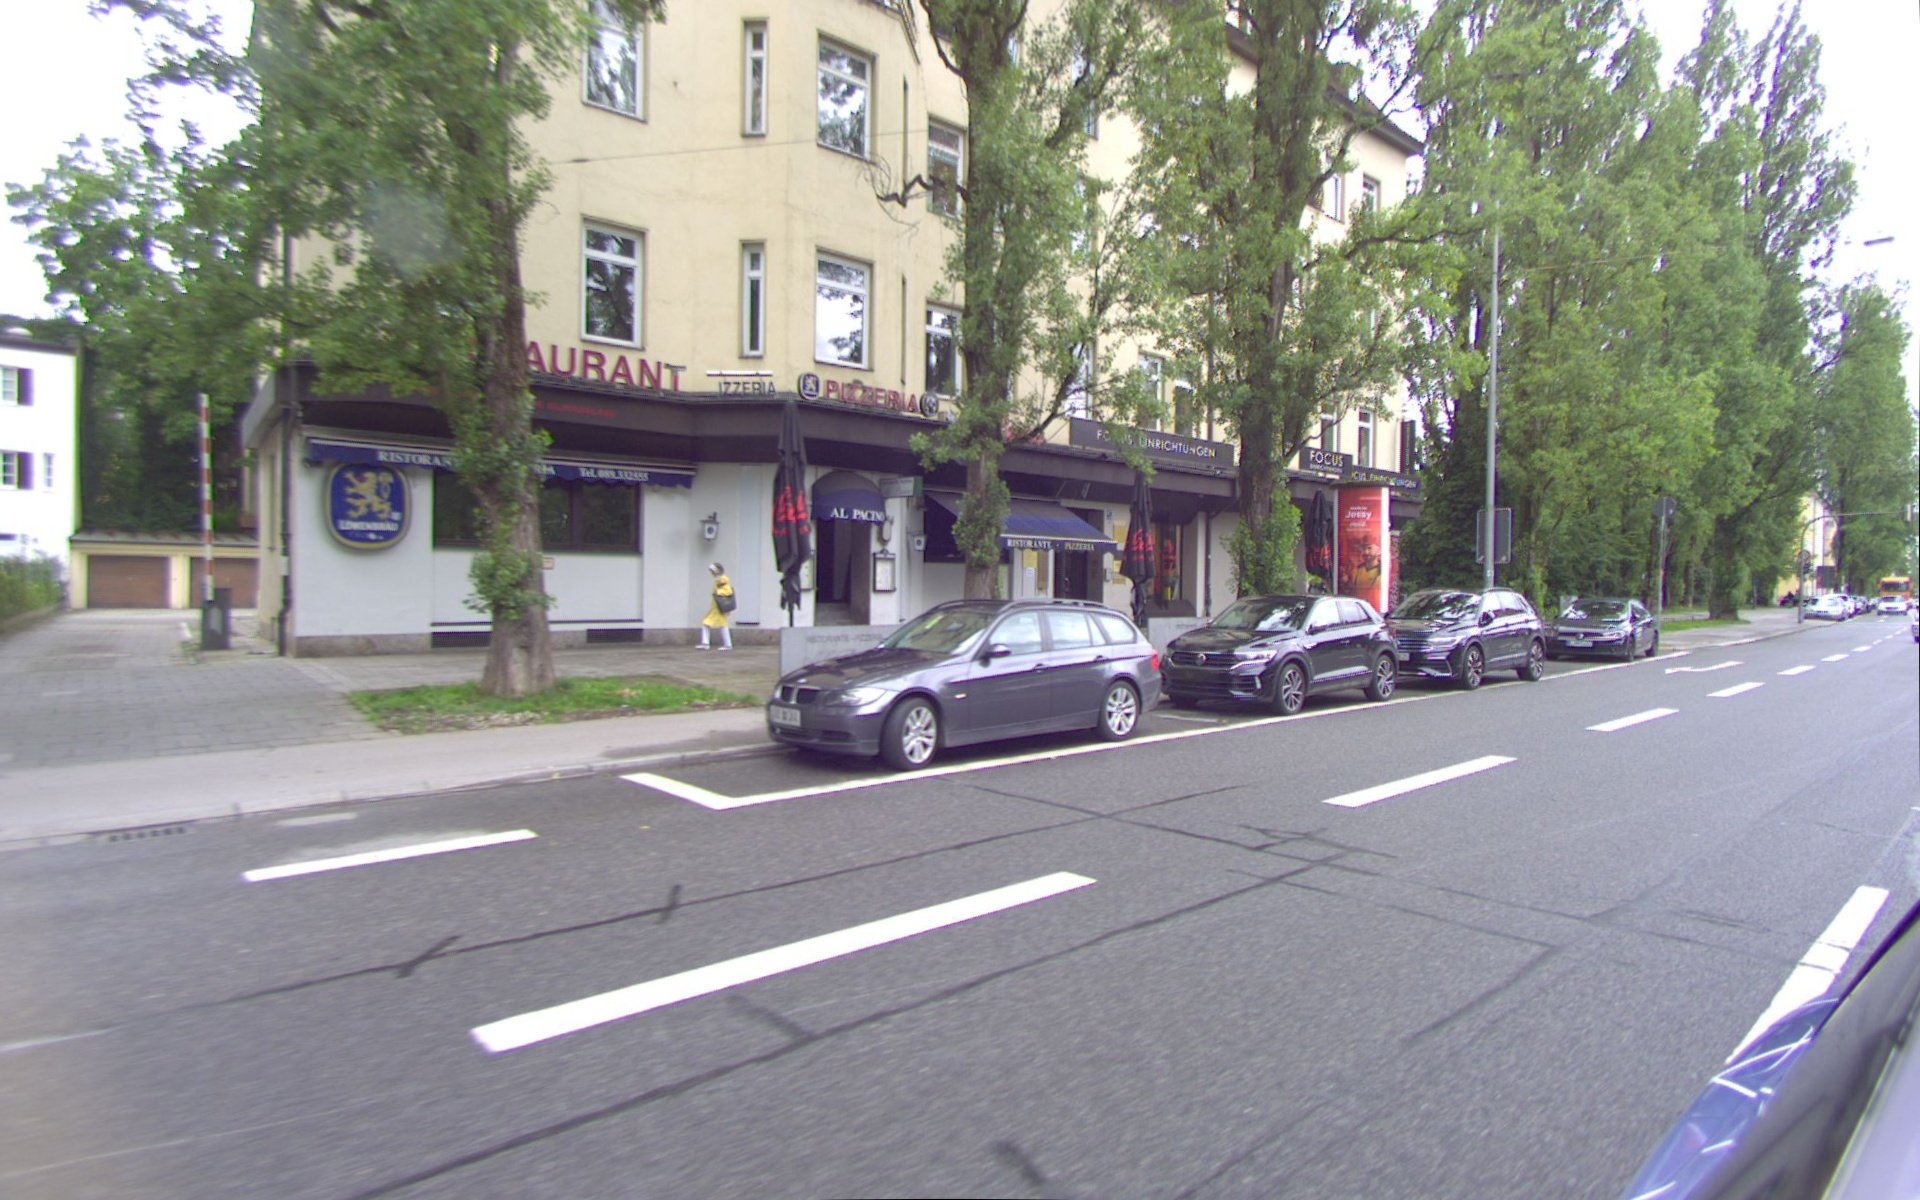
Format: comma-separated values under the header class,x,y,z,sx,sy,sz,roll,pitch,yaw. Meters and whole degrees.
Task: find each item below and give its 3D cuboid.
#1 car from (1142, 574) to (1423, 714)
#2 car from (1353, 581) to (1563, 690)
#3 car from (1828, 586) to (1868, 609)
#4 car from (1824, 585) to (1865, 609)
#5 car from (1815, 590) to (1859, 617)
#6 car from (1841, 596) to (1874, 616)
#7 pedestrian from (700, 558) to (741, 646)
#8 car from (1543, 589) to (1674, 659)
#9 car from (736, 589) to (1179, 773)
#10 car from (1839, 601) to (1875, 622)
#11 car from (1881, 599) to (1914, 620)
class,x,y,z,sx,sy,sz,roll,pitch,yaw
car,4.556,0.485,13.981,4.231,1.632,1.802,-1,2,-42
car,8.685,0.515,17.469,4.393,1.632,1.724,-1,2,-42
car,59.331,-0.208,67.607,1.781,1.504,4.073,1,1,44
car,56.052,-0.207,64.101,1.781,1.504,4.192,1,1,43
car,51.745,0.181,59.664,1.781,1.504,4.284,1,1,43
car,71.277,0.465,80.360,1.781,1.504,4.073,1,1,44
pedestrian,-4.399,0.030,18.570,0.487,1.582,0.574,2,-1,-40
car,15.276,0.500,23.764,3.935,1.484,1.800,-1,1,-45
car,0.139,0.615,10.058,4.306,1.416,1.802,-1,2,-42
car,66.841,0.830,75.380,1.781,1.504,4.073,1,1,44
car,73.853,0.731,79.724,1.781,1.504,4.073,1,1,44
